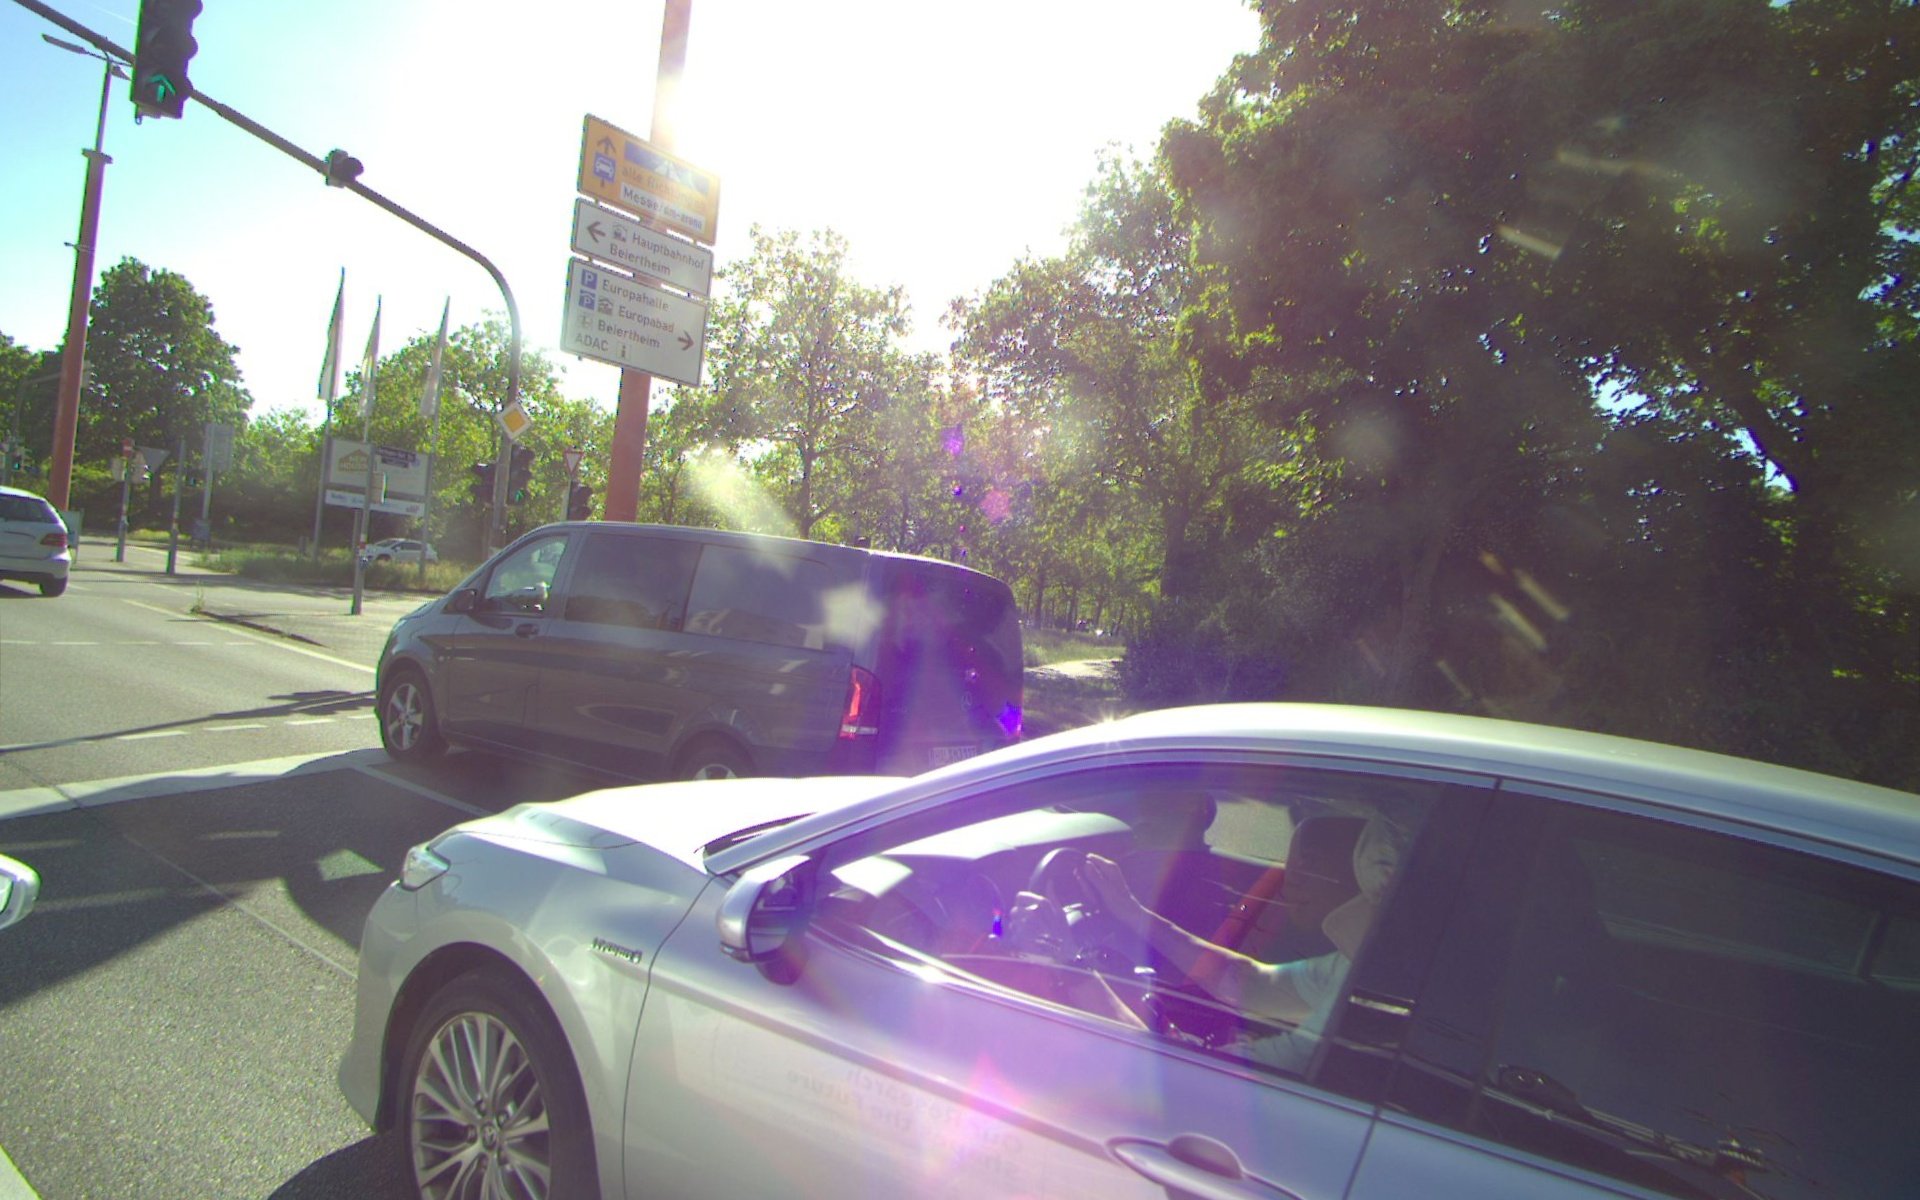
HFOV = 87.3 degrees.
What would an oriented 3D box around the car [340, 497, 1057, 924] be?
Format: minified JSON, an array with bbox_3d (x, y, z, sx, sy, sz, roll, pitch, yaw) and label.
[{"bbox_3d":[-2.053,0.462,7.010,5.021,1.875,1.806,7,0,34],"label":"car"}]

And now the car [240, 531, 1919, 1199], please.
[{"bbox_3d":[0.697,0.898,2.024,4.606,1.510,1.807,7,-2,33],"label":"car"}]

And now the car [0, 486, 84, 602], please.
[{"bbox_3d":[-15.824,-1.032,15.989,3.784,1.626,1.719,6,-2,32],"label":"car"}]

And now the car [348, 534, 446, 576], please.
[{"bbox_3d":[-30.564,-2.413,54.773,1.739,1.655,4.293,7,-1,29],"label":"car"}]
